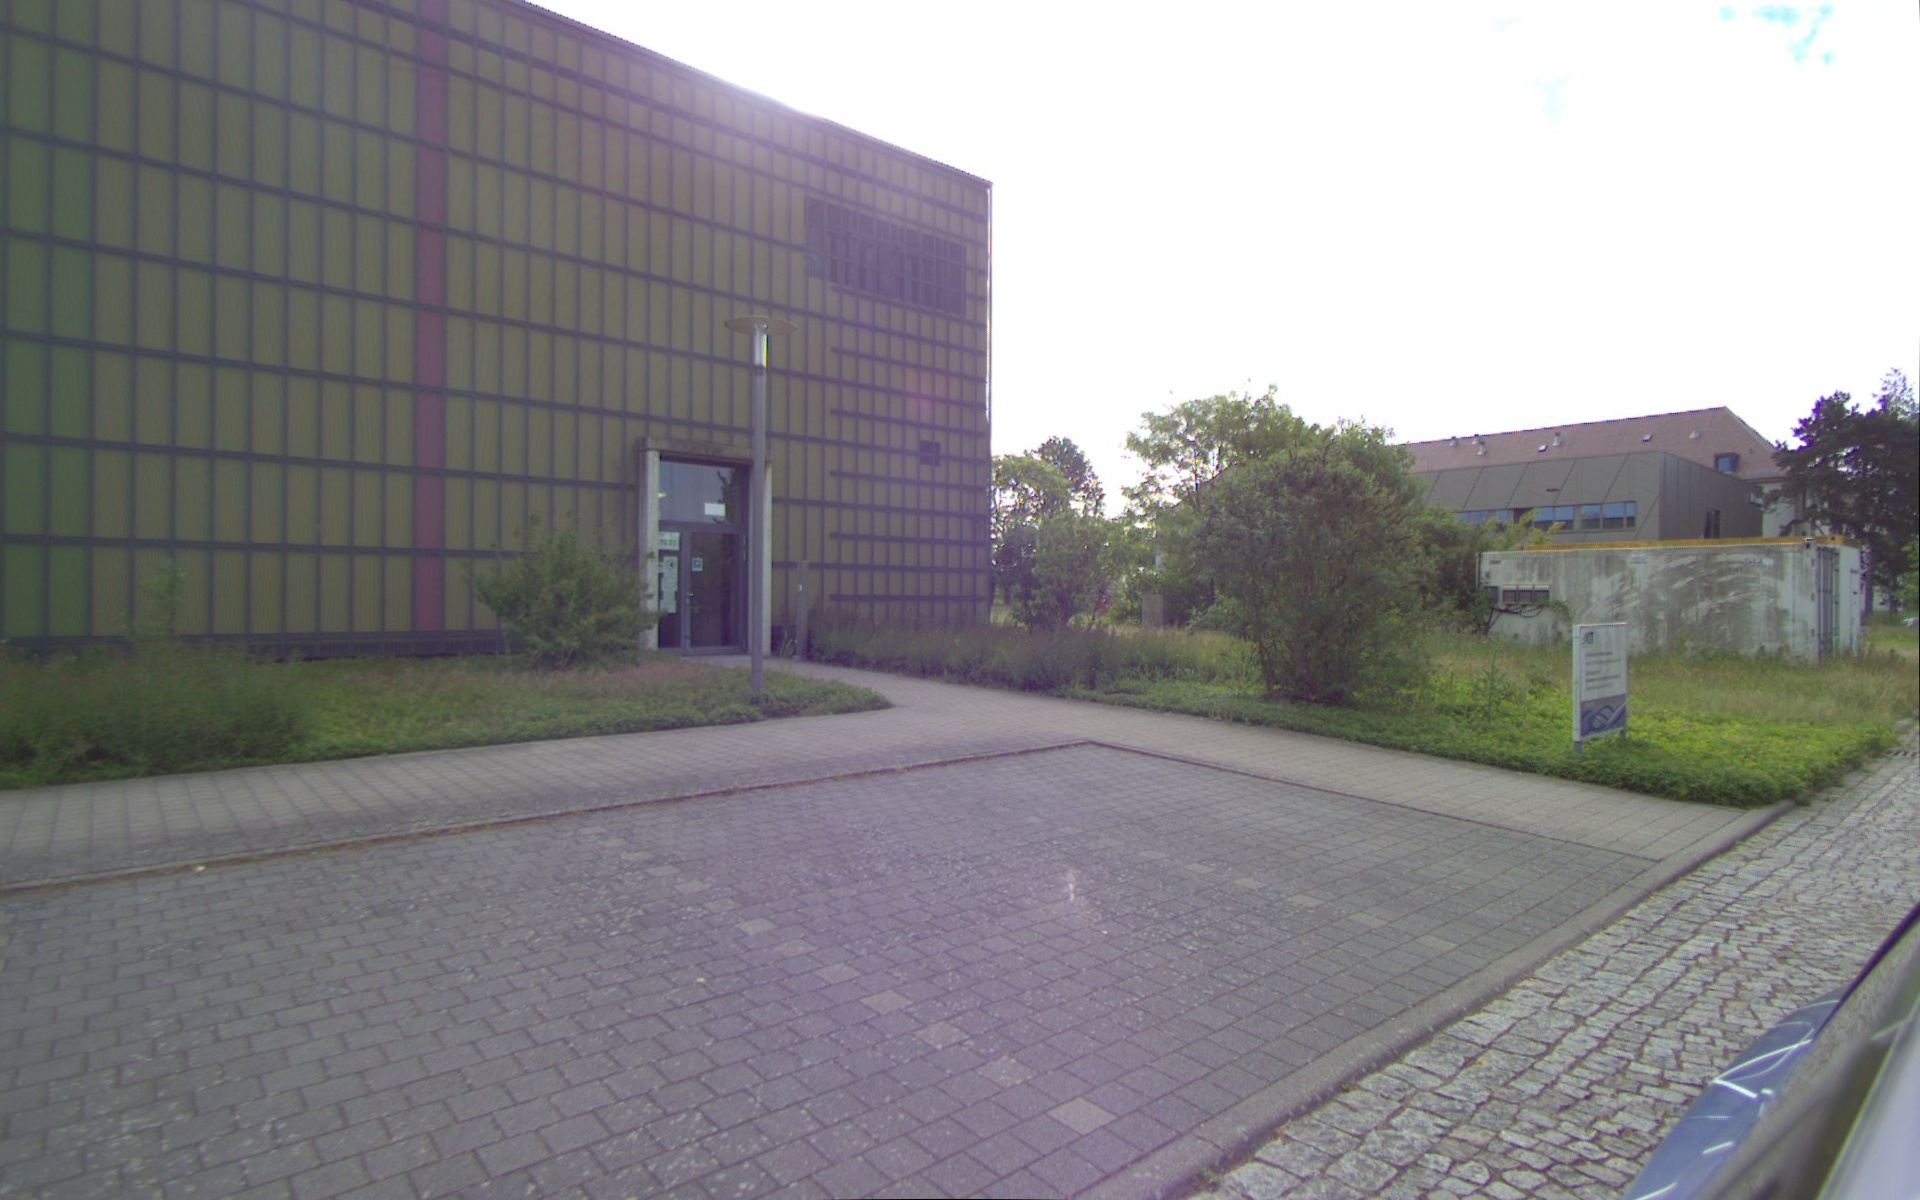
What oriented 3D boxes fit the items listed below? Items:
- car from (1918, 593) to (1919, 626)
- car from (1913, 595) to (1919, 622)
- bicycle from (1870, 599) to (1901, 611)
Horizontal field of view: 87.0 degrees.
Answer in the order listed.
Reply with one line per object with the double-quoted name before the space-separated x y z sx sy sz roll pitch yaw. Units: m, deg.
"car" 48.291 0.538 48.877 1.653 1.601 2.747 0 2 -40
"car" 53.694 0.540 53.577 1.899 1.468 4.532 0 2 -42
"bicycle" 90.352 0.491 98.793 0.705 1.109 2.160 0 0 -44
